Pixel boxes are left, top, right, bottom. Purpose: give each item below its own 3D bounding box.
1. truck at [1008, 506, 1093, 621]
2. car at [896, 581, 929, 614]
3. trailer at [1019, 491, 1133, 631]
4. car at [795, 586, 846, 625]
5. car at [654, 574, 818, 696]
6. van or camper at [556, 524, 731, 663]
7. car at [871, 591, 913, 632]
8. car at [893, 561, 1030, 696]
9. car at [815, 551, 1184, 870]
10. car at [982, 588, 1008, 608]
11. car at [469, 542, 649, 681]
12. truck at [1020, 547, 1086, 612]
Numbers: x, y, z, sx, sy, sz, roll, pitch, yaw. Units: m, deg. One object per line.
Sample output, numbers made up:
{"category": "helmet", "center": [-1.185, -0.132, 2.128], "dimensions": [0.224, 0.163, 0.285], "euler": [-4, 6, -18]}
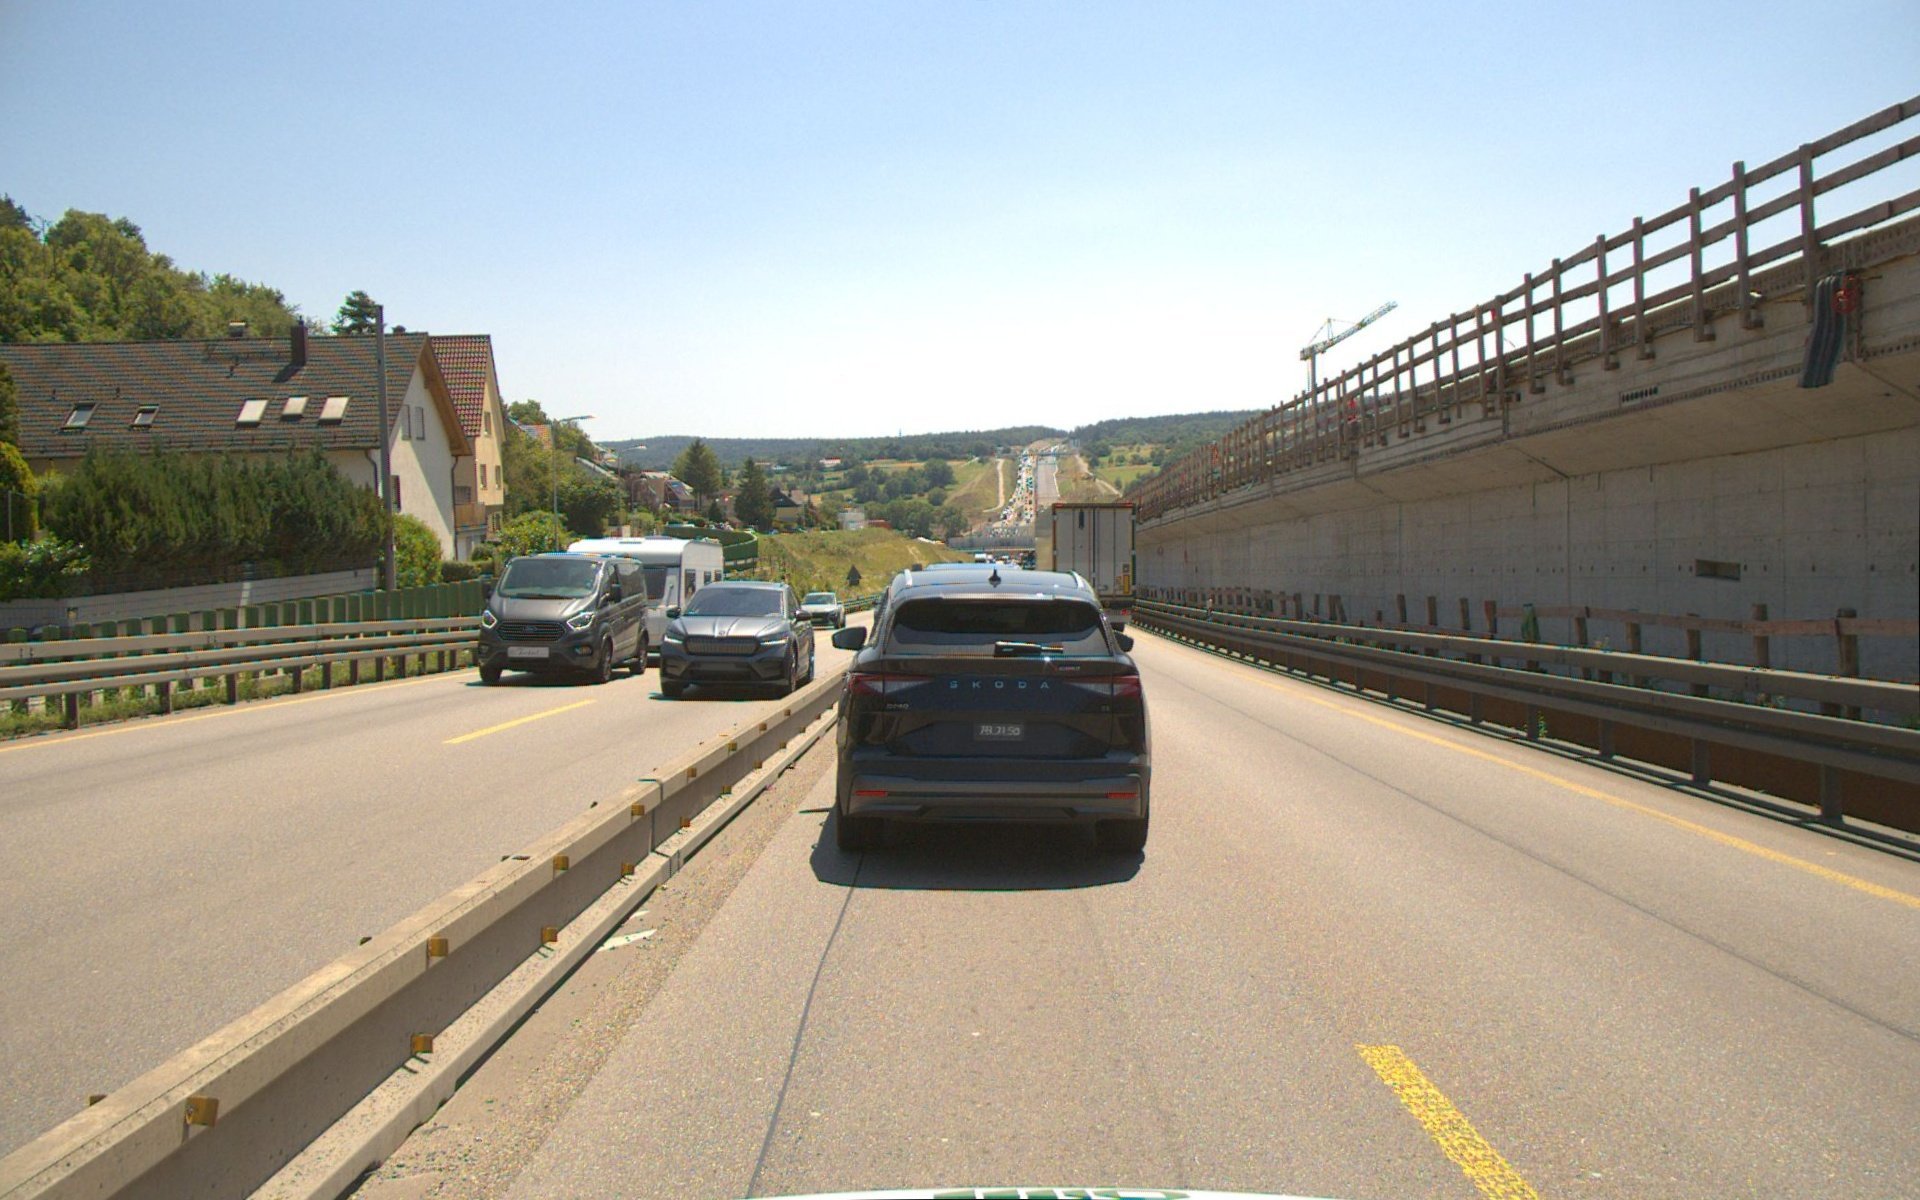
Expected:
{"category": "truck", "center": [3.375, -1.242, 63.447], "dimensions": [2.463, 4.096, 8.233], "euler": [1, -1, -2]}
{"category": "car", "center": [-2.318, -0.114, 81.409], "dimensions": [1.515, 1.576, 3.237], "euler": [1, -1, -1]}
{"category": "trailer", "center": [3.717, -1.104, 55.750], "dimensions": [2.481, 4.199, 11.541], "euler": [1, -1, -3]}
{"category": "car", "center": [-5.833, 0.244, 69.519], "dimensions": [1.805, 1.570, 4.176], "euler": [1, -1, -1]}
{"category": "car", "center": [-3.189, 0.501, 24.382], "dimensions": [1.834, 1.614, 4.478], "euler": [1, -1, -1]}
{"category": "van or camper", "center": [-6.334, -0.079, 33.964], "dimensions": [2.306, 2.560, 6.327], "euler": [1, -1, 0]}
{"category": "car", "center": [-2.675, 0.480, 65.573], "dimensions": [1.515, 1.576, 3.237], "euler": [1, -1, -1]}
{"category": "car", "center": [-0.060, 0.378, 25.682], "dimensions": [1.674, 1.914, 3.995], "euler": [1, 1, -6]}
{"category": "car", "center": [0.049, 0.594, 10.431], "dimensions": [1.807, 1.614, 3.901], "euler": [1, -1, -6]}
{"category": "car", "center": [2.923, -0.185, 138.879], "dimensions": [1.953, 1.613, 3.834], "euler": [1, -1, -2]}
{"category": "car", "center": [-6.361, 0.202, 26.721], "dimensions": [1.953, 2.049, 3.999], "euler": [1, -1, -1]}
{"category": "truck", "center": [4.984, -0.988, 90.993], "dimensions": [3.129, 3.247, 12.809], "euler": [0, -1, 1]}
